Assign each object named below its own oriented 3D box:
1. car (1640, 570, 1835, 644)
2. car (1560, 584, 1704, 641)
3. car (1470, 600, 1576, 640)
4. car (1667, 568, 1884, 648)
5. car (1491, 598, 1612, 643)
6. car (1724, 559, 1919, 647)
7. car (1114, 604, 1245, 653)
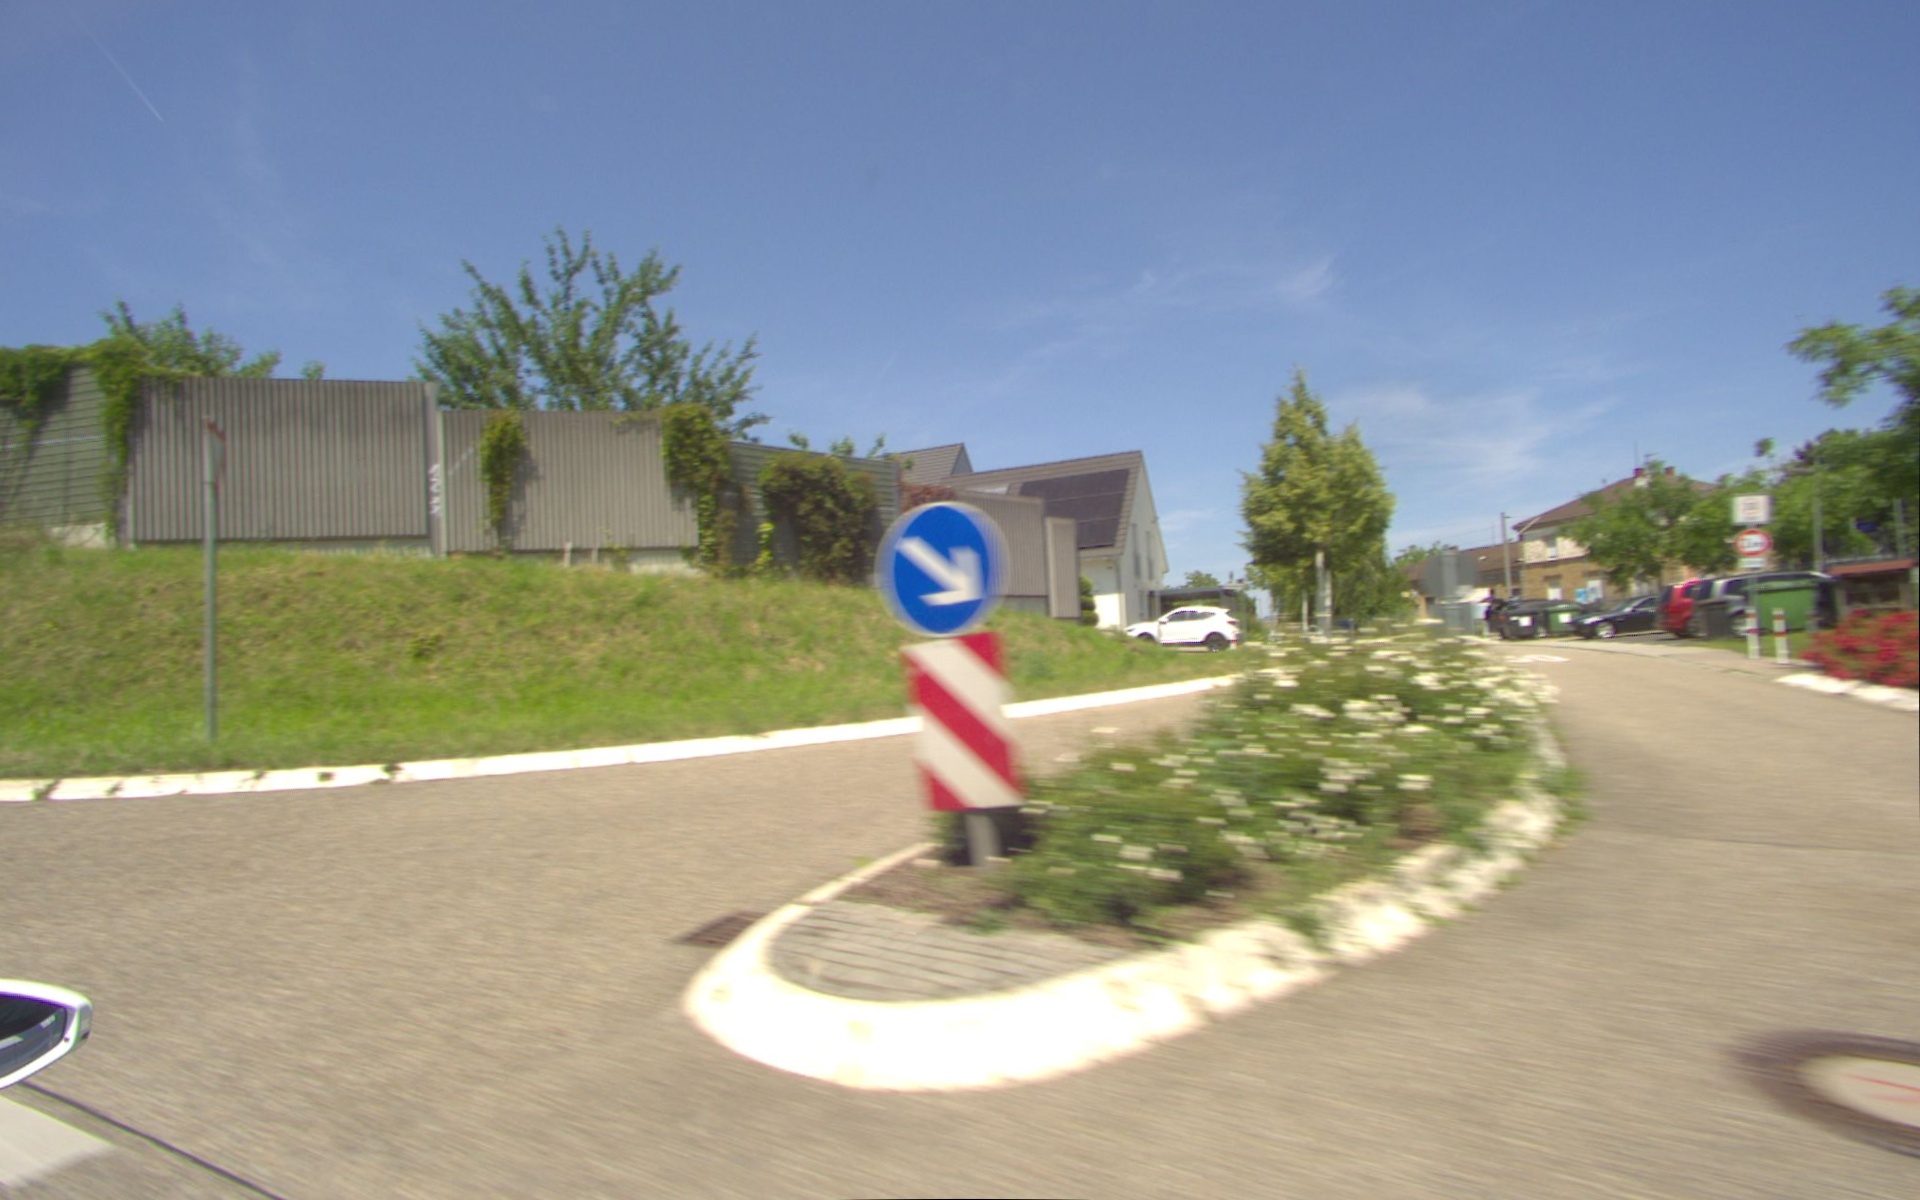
[{"bbox_3d":[22.211,0.251,28.810,3.933,1.772,1.868,-4,-3,21],"label":"car"},{"bbox_3d":[24.450,0.501,36.631,3.933,1.772,1.868,-4,-3,21],"label":"car"},{"bbox_3d":[26.871,0.995,47.915,3.927,1.598,1.870,-4,-3,14],"label":"car"},{"bbox_3d":[21.339,0.266,26.412,3.933,1.772,1.868,-4,-3,21],"label":"car"},{"bbox_3d":[24.928,0.879,42.320,3.927,1.598,1.870,-4,-3,14],"label":"car"},{"bbox_3d":[20.630,0.090,23.401,3.933,1.772,1.868,-4,-3,21],"label":"car"},{"bbox_3d":[8.213,1.071,37.446,4.525,1.674,1.999,0,-5,21],"label":"car"}]
